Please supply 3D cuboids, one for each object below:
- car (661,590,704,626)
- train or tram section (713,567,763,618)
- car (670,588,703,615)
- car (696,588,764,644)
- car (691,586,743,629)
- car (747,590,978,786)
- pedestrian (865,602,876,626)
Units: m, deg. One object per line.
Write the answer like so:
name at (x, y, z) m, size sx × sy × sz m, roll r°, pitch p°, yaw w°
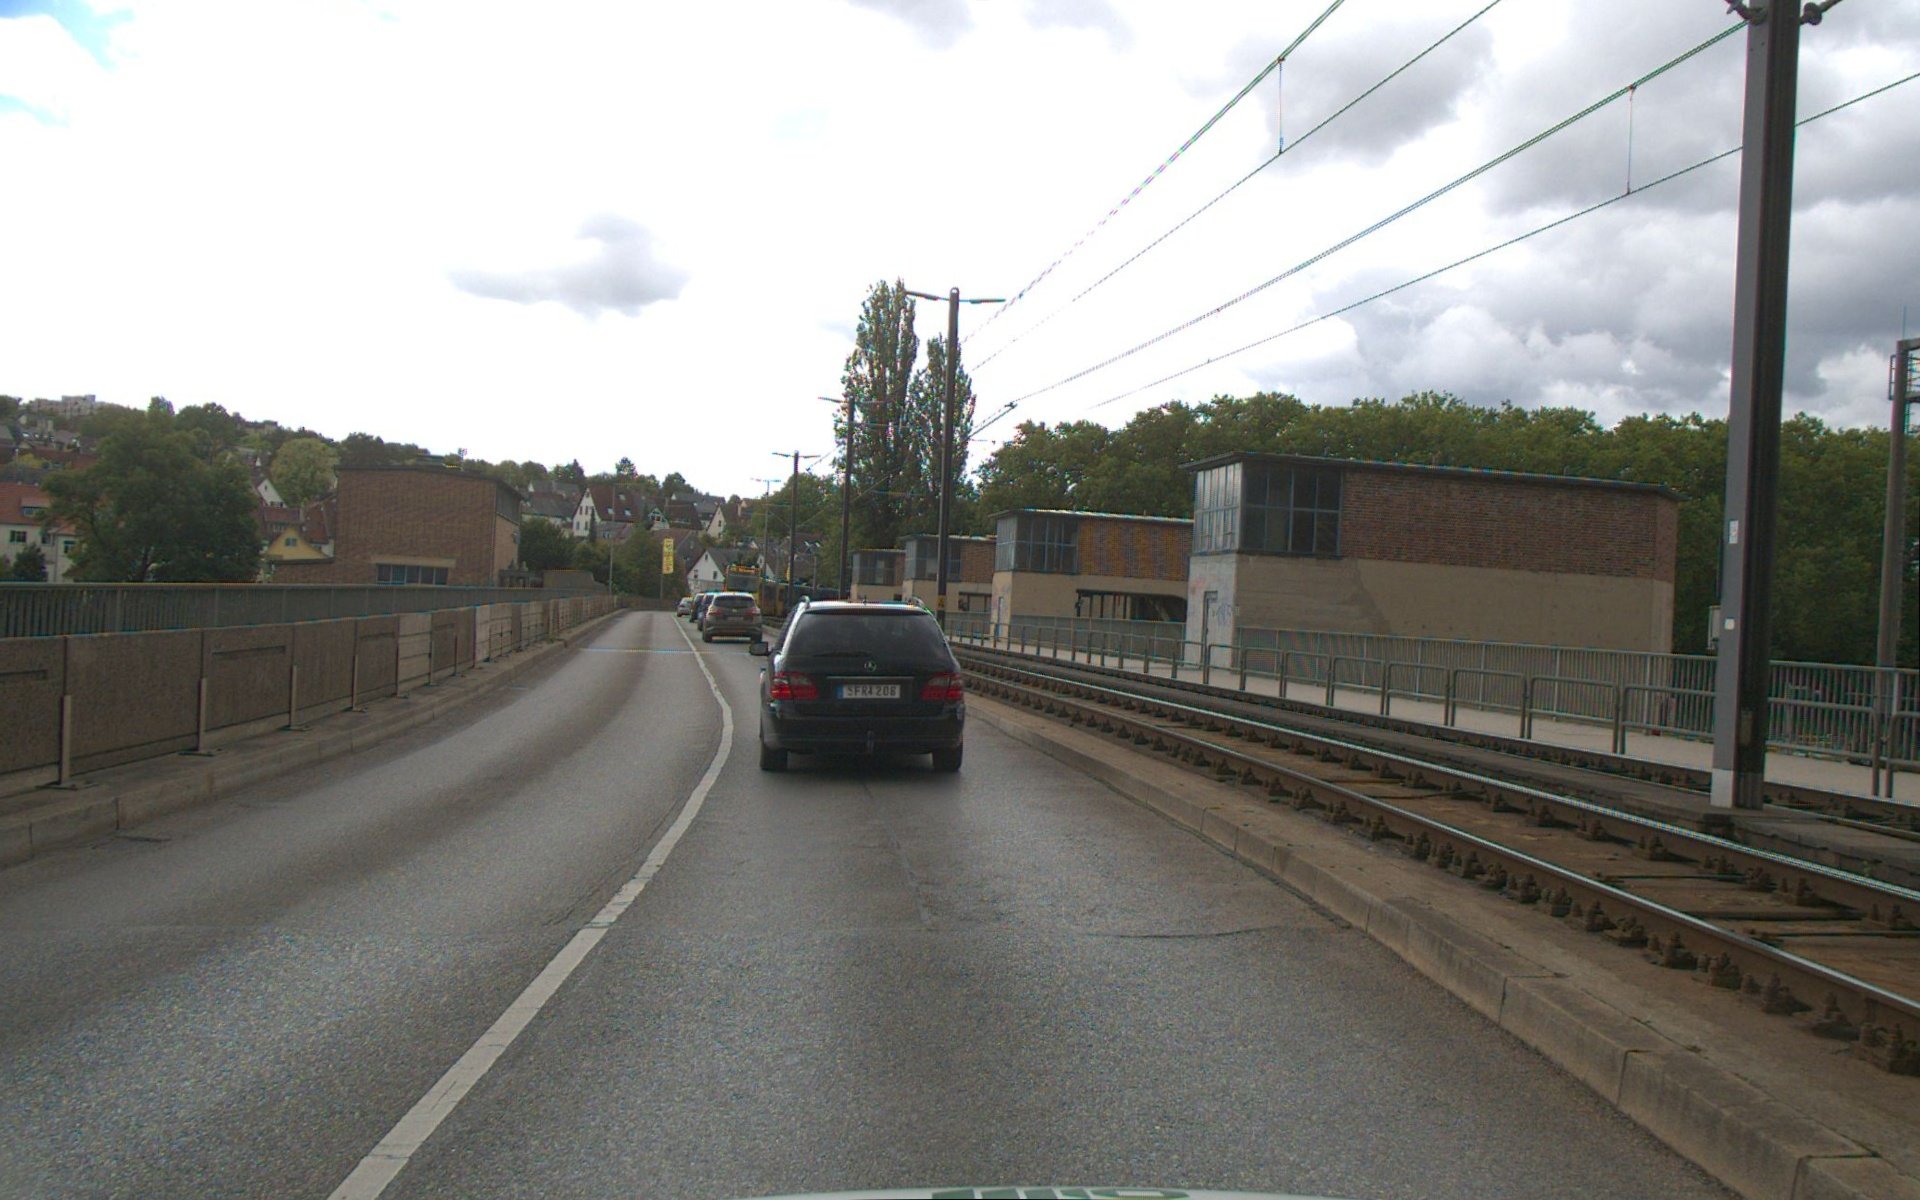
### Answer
car at (-13.747, 0.371, 81.882) m, size 1.958 × 1.702 × 4.528 m, roll 0°, pitch 1°, yaw -11°
train or tram section at (-17.286, -0.557, 127.754) m, size 2.831 × 3.571 × 18.616 m, roll 1°, pitch 0°, yaw -11°
car at (-18.248, 0.083, 110.325) m, size 1.958 × 1.598 × 4.892 m, roll 3°, pitch 0°, yaw -11°
car at (-7.223, 0.471, 51.632) m, size 1.739 × 1.582 × 4.227 m, roll 2°, pitch 0°, yaw -12°
car at (-9.849, 0.267, 66.748) m, size 1.957 × 1.591 × 4.986 m, roll 0°, pitch 1°, yaw -10°
car at (-1.056, 0.707, 15.523) m, size 1.726 × 1.542 × 4.433 m, roll 1°, pitch 0°, yaw -9°
pedestrian at (-6.097, 0.966, 112.611) m, size 0.566 × 1.638 × 0.611 m, roll 2°, pitch -1°, yaw -10°
